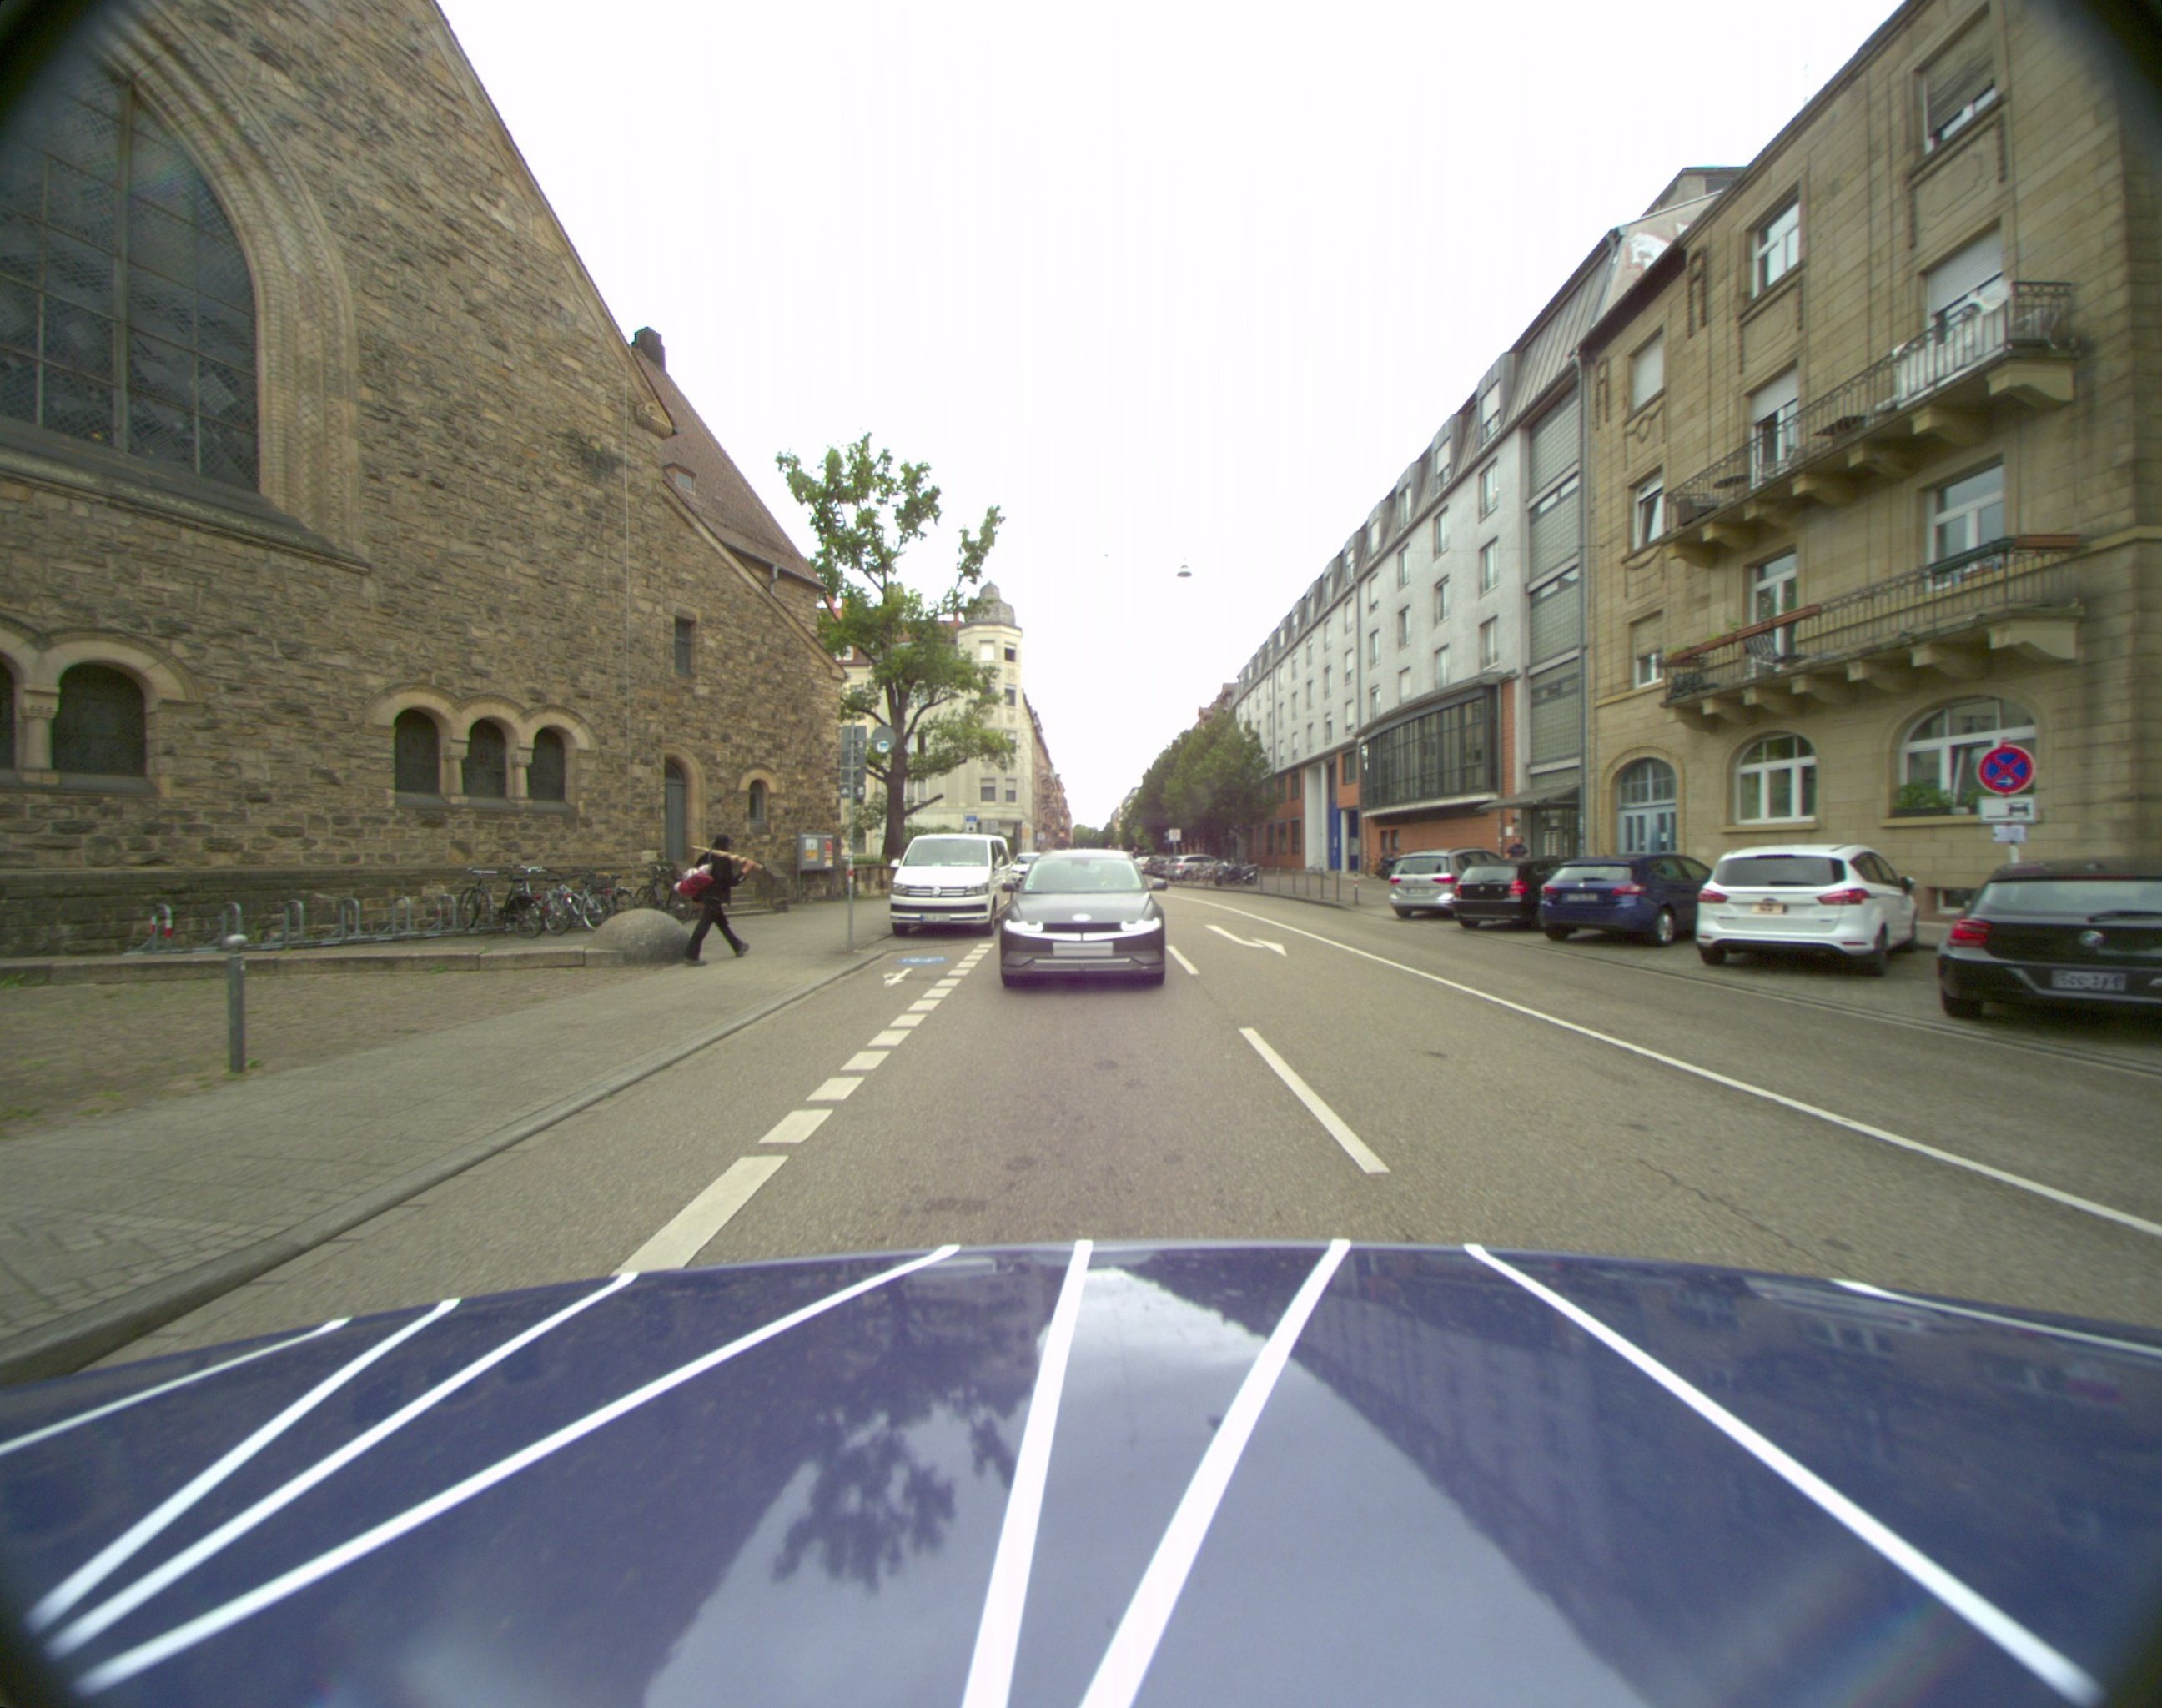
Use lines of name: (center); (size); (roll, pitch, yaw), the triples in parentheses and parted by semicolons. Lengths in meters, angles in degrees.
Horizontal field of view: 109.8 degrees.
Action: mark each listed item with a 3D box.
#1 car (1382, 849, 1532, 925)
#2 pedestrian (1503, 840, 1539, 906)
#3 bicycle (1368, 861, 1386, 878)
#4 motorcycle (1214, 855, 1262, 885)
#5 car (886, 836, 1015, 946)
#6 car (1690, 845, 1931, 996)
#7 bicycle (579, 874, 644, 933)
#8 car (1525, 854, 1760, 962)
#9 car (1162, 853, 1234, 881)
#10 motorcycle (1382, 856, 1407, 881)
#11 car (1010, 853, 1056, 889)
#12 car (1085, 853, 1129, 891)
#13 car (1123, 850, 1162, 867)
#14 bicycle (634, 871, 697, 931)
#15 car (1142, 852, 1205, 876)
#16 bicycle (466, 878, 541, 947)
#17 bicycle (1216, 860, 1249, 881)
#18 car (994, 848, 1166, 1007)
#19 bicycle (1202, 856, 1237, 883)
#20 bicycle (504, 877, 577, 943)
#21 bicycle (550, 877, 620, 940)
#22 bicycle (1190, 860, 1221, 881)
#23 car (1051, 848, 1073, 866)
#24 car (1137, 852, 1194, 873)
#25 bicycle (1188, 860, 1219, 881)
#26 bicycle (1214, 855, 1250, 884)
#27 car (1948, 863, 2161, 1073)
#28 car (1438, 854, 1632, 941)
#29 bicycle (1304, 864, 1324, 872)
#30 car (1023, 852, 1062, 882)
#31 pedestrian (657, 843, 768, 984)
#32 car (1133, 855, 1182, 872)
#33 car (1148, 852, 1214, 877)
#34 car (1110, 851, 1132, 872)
car: (9.373, 0.745, 18.823); (4.007, 1.545, 1.729); (-3, 1, -38)
pedestrian: (12.239, 0.513, 21.158); (0.621, 1.812, 0.642); (0, 1, 1)
bicycle: (14.329, 0.754, 36.805); (0.336, 0.783, 1.581); (0, 0, 2)
motorcycle: (7.420, 0.764, 35.901); (2.124, 1.345, 0.599); (-2, 1, 2)
car: (-2.504, 0.642, 15.903); (1.809, 1.908, 5.163); (0, 0, 0)
car: (10.004, 0.752, 10.326); (4.007, 1.545, 1.699); (-3, 1, -37)
bicycle: (-8.784, 0.910, 14.201); (1.340, 1.054, 0.311); (0, 1, 23)
car: (9.673, 0.829, 13.054); (3.754, 1.437, 1.820); (-3, 0, -29)
car: (7.061, 0.758, 45.857); (4.004, 1.619, 1.769); (0, 0, -22)
motorcycle: (14.099, 0.637, 34.222); (0.446, 1.091, 1.763); (0, 0, 2)
car: (-2.183, 0.740, 35.601); (1.820, 1.556, 4.000); (0, 0, 1)
car: (1.218, 0.797, 35.177); (1.910, 1.597, 4.251); (0, 1, 2)
car: (6.982, 0.478, 86.752); (4.004, 1.897, 1.996); (0, 0, -22)
bicycle: (-8.165, 0.904, 14.920); (1.340, 1.140, 0.311); (0, 1, 23)
car: (6.641, 0.691, 54.510); (4.004, 1.619, 1.996); (0, 0, -22)
bicycle: (-9.336, 0.928, 12.276); (1.380, 1.054, 0.311); (0, 1, 23)
bicycle: (8.060, 0.888, 40.456); (1.630, 1.067, 0.416); (-2, 1, 0)
car: (0.032, 0.776, 10.045); (1.820, 1.675, 4.000); (0, 0, 1)
bicycle: (6.873, 0.773, 37.751); (1.630, 1.282, 0.416); (-2, 1, 0)
bicycle: (-9.143, 0.928, 12.840); (1.380, 1.054, 0.311); (0, 1, 23)
bicycle: (-8.814, 0.953, 13.500); (1.380, 1.054, 0.311); (0, 1, 23)
bicycle: (6.787, 0.902, 41.421); (1.630, 1.067, 0.416); (-2, 1, 0)
car: (-1.667, 0.220, 68.009); (1.820, 1.556, 4.000); (0, 0, 1)
car: (6.736, 0.680, 60.455); (4.004, 1.619, 1.996); (0, 0, -22)
bicycle: (6.739, 0.896, 41.889); (1.630, 1.067, 0.416); (-2, 1, 0)
bicycle: (7.342, 0.744, 36.874); (1.630, 1.345, 0.416); (-2, 1, 0)
car: (9.567, 0.868, 6.978); (4.006, 1.409, 1.657); (-2, 1, -34)
car: (9.464, 0.818, 15.773); (4.006, 1.430, 1.729); (-3, 0, -31)
bicycle: (13.938, 0.829, 45.451); (1.010, 0.434, 0.527); (0, 2, 3)
car: (-2.076, 0.663, 41.613); (1.820, 1.556, 4.000); (0, 0, 1)
pedestrian: (-5.032, 0.763, 10.426); (0.814, 1.799, 1.021); (0, 3, 22)
car: (6.734, 0.811, 67.093); (4.004, 1.488, 1.735); (0, 0, -22)
car: (6.805, 0.715, 51.738); (4.004, 1.619, 1.996); (0, 0, -22)
car: (3.634, 0.657, 69.068); (1.698, 1.793, 4.128); (0, 0, -1)
